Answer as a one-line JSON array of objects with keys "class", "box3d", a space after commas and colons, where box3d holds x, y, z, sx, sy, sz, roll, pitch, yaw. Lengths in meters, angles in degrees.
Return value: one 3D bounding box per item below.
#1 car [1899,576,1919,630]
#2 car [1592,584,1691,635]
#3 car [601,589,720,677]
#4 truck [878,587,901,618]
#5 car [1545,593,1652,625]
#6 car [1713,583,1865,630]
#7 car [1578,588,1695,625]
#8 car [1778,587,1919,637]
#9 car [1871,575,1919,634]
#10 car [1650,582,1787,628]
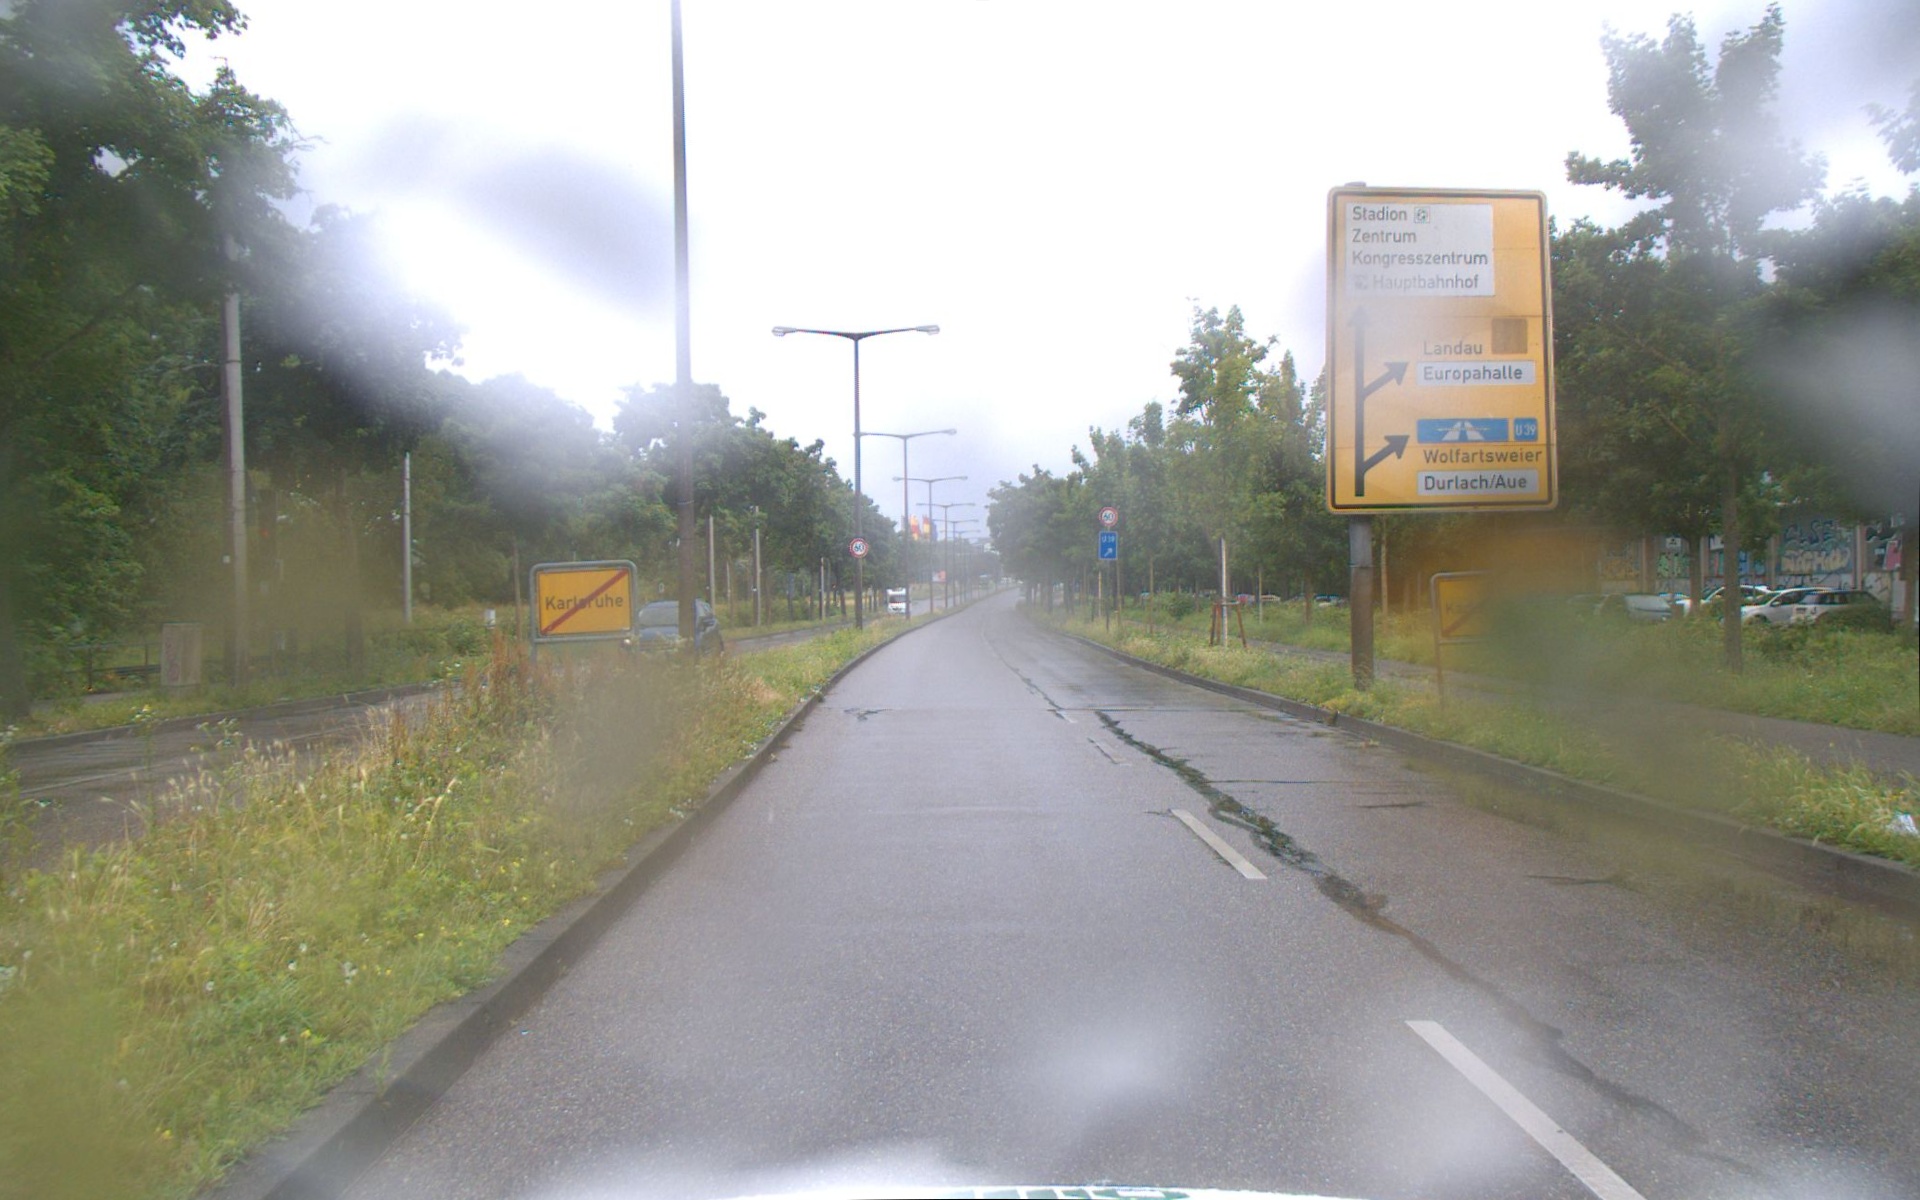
[{"class": "car", "box3d": [29.337, 0.121, 47.236, 4.105, 1.510, 1.759, 1, -1, -3]}, {"class": "car", "box3d": [22.256, 0.275, 54.155, 1.708, 1.470, 4.124, -1, 2, 3]}, {"class": "car", "box3d": [-6.324, 0.665, 35.320, 1.708, 1.679, 4.136, -3, 0, 0]}, {"class": "truck", "box3d": [-7.118, 0.272, 167.785, 2.094, 2.893, 5.072, -2, -1, -1]}, {"class": "car", "box3d": [29.710, 0.424, 77.025, 4.312, 1.357, 1.836, 1, -1, -5]}, {"class": "car", "box3d": [29.674, 0.233, 59.307, 4.473, 1.585, 1.946, 1, -1, 4]}, {"class": "car", "box3d": [30.186, 0.290, 73.894, 4.480, 1.574, 1.861, 1, -1, -5]}, {"class": "car", "box3d": [29.747, 0.402, 54.892, 4.247, 1.585, 1.944, 1, -1, -3]}, {"class": "car", "box3d": [30.376, 0.166, 50.379, 4.247, 1.755, 1.944, 1, -1, -3]}, {"class": "car", "box3d": [29.763, 0.204, 64.953, 4.478, 1.735, 1.999, 1, -1, -3]}]
